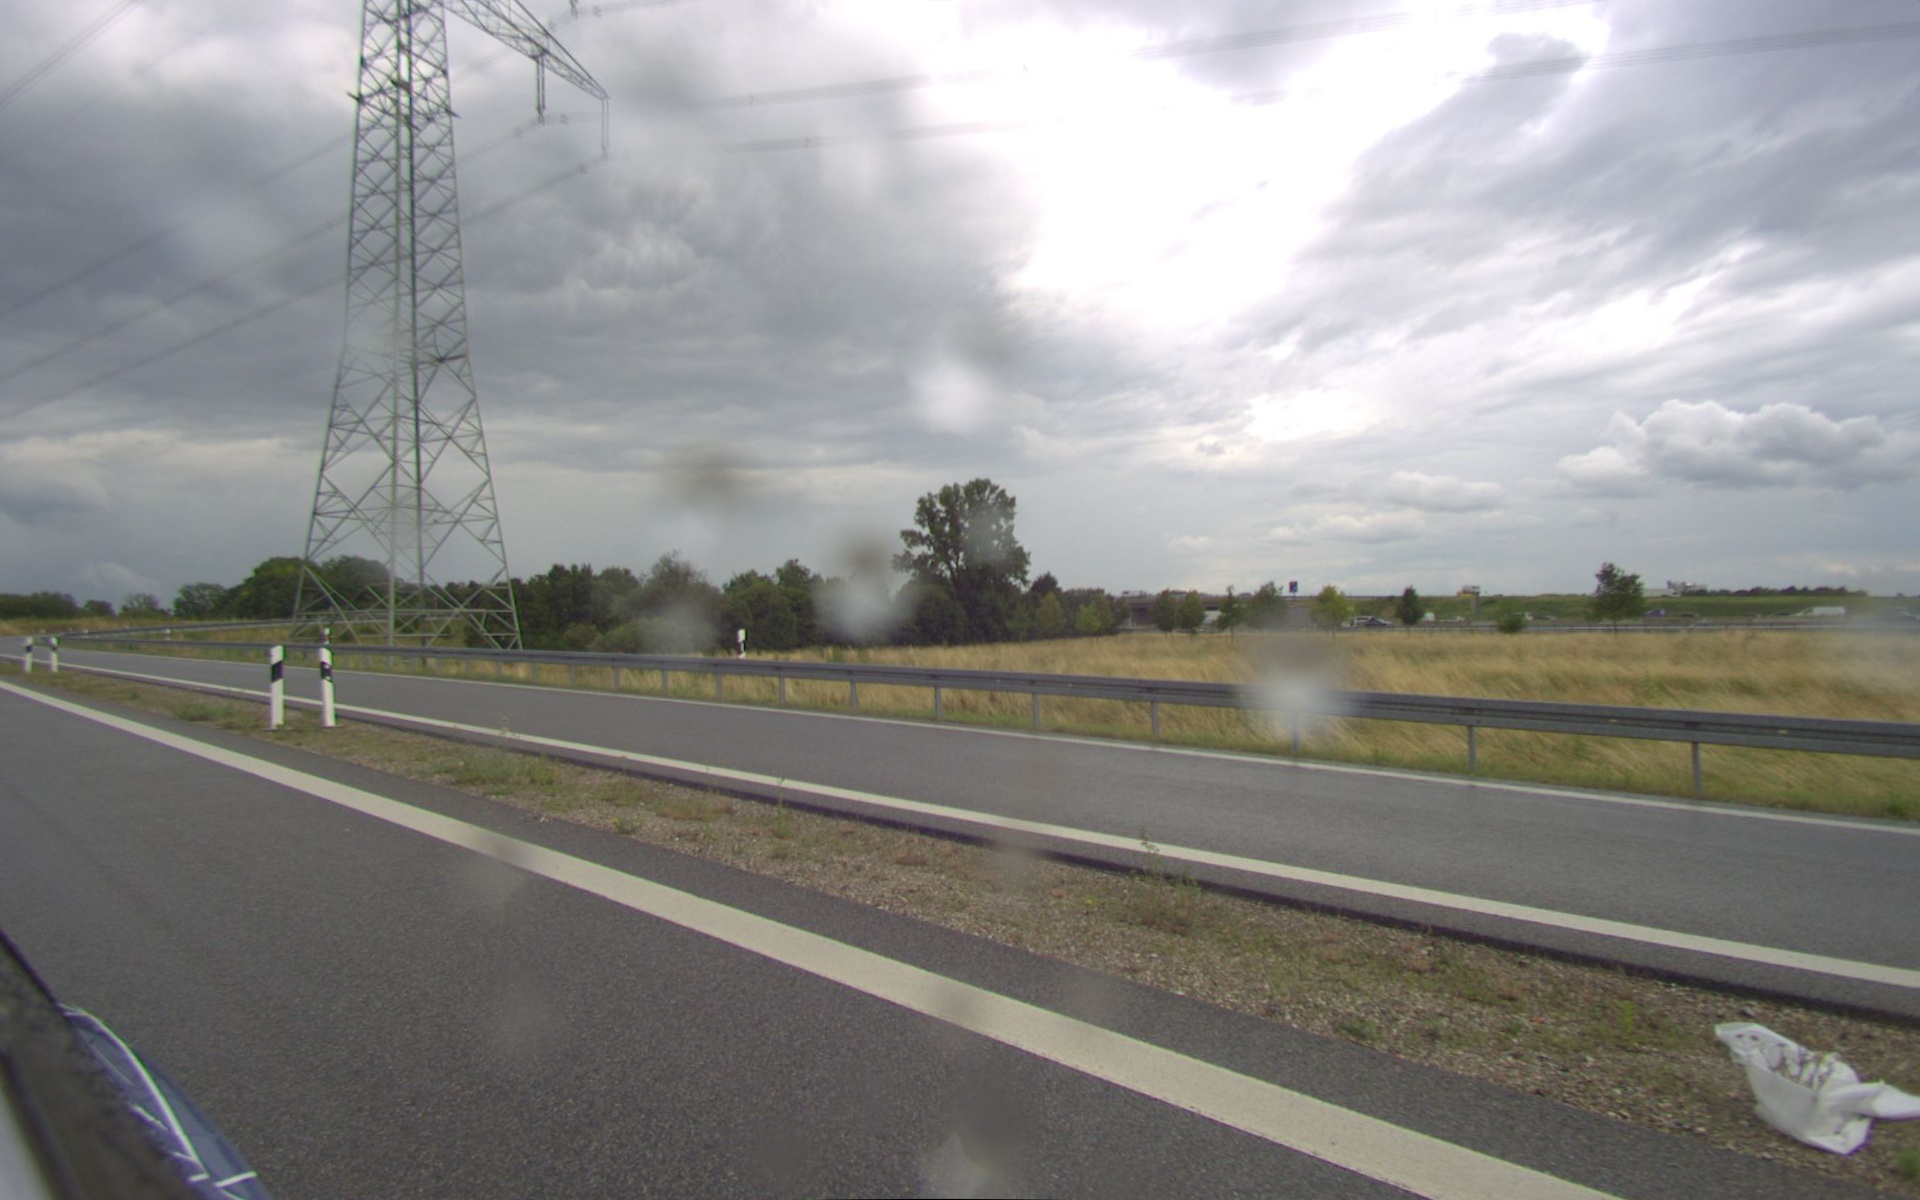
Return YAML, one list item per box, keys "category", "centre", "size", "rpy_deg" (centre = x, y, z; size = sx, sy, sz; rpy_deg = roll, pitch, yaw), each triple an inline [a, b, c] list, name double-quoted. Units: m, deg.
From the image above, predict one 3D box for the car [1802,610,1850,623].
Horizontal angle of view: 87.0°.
- category: "car"
  centre: [107.125, 2.085, 125.156]
  size: [1.966, 1.404, 4.012]
  rpy_deg: [-1, -3, -30]

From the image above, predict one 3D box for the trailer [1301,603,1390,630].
- category: "trailer"
  centre: [59.807, 2.628, 157.481]
  size: [2.811, 3.811, 13.694]
  rpy_deg: [-1, -1, -34]
